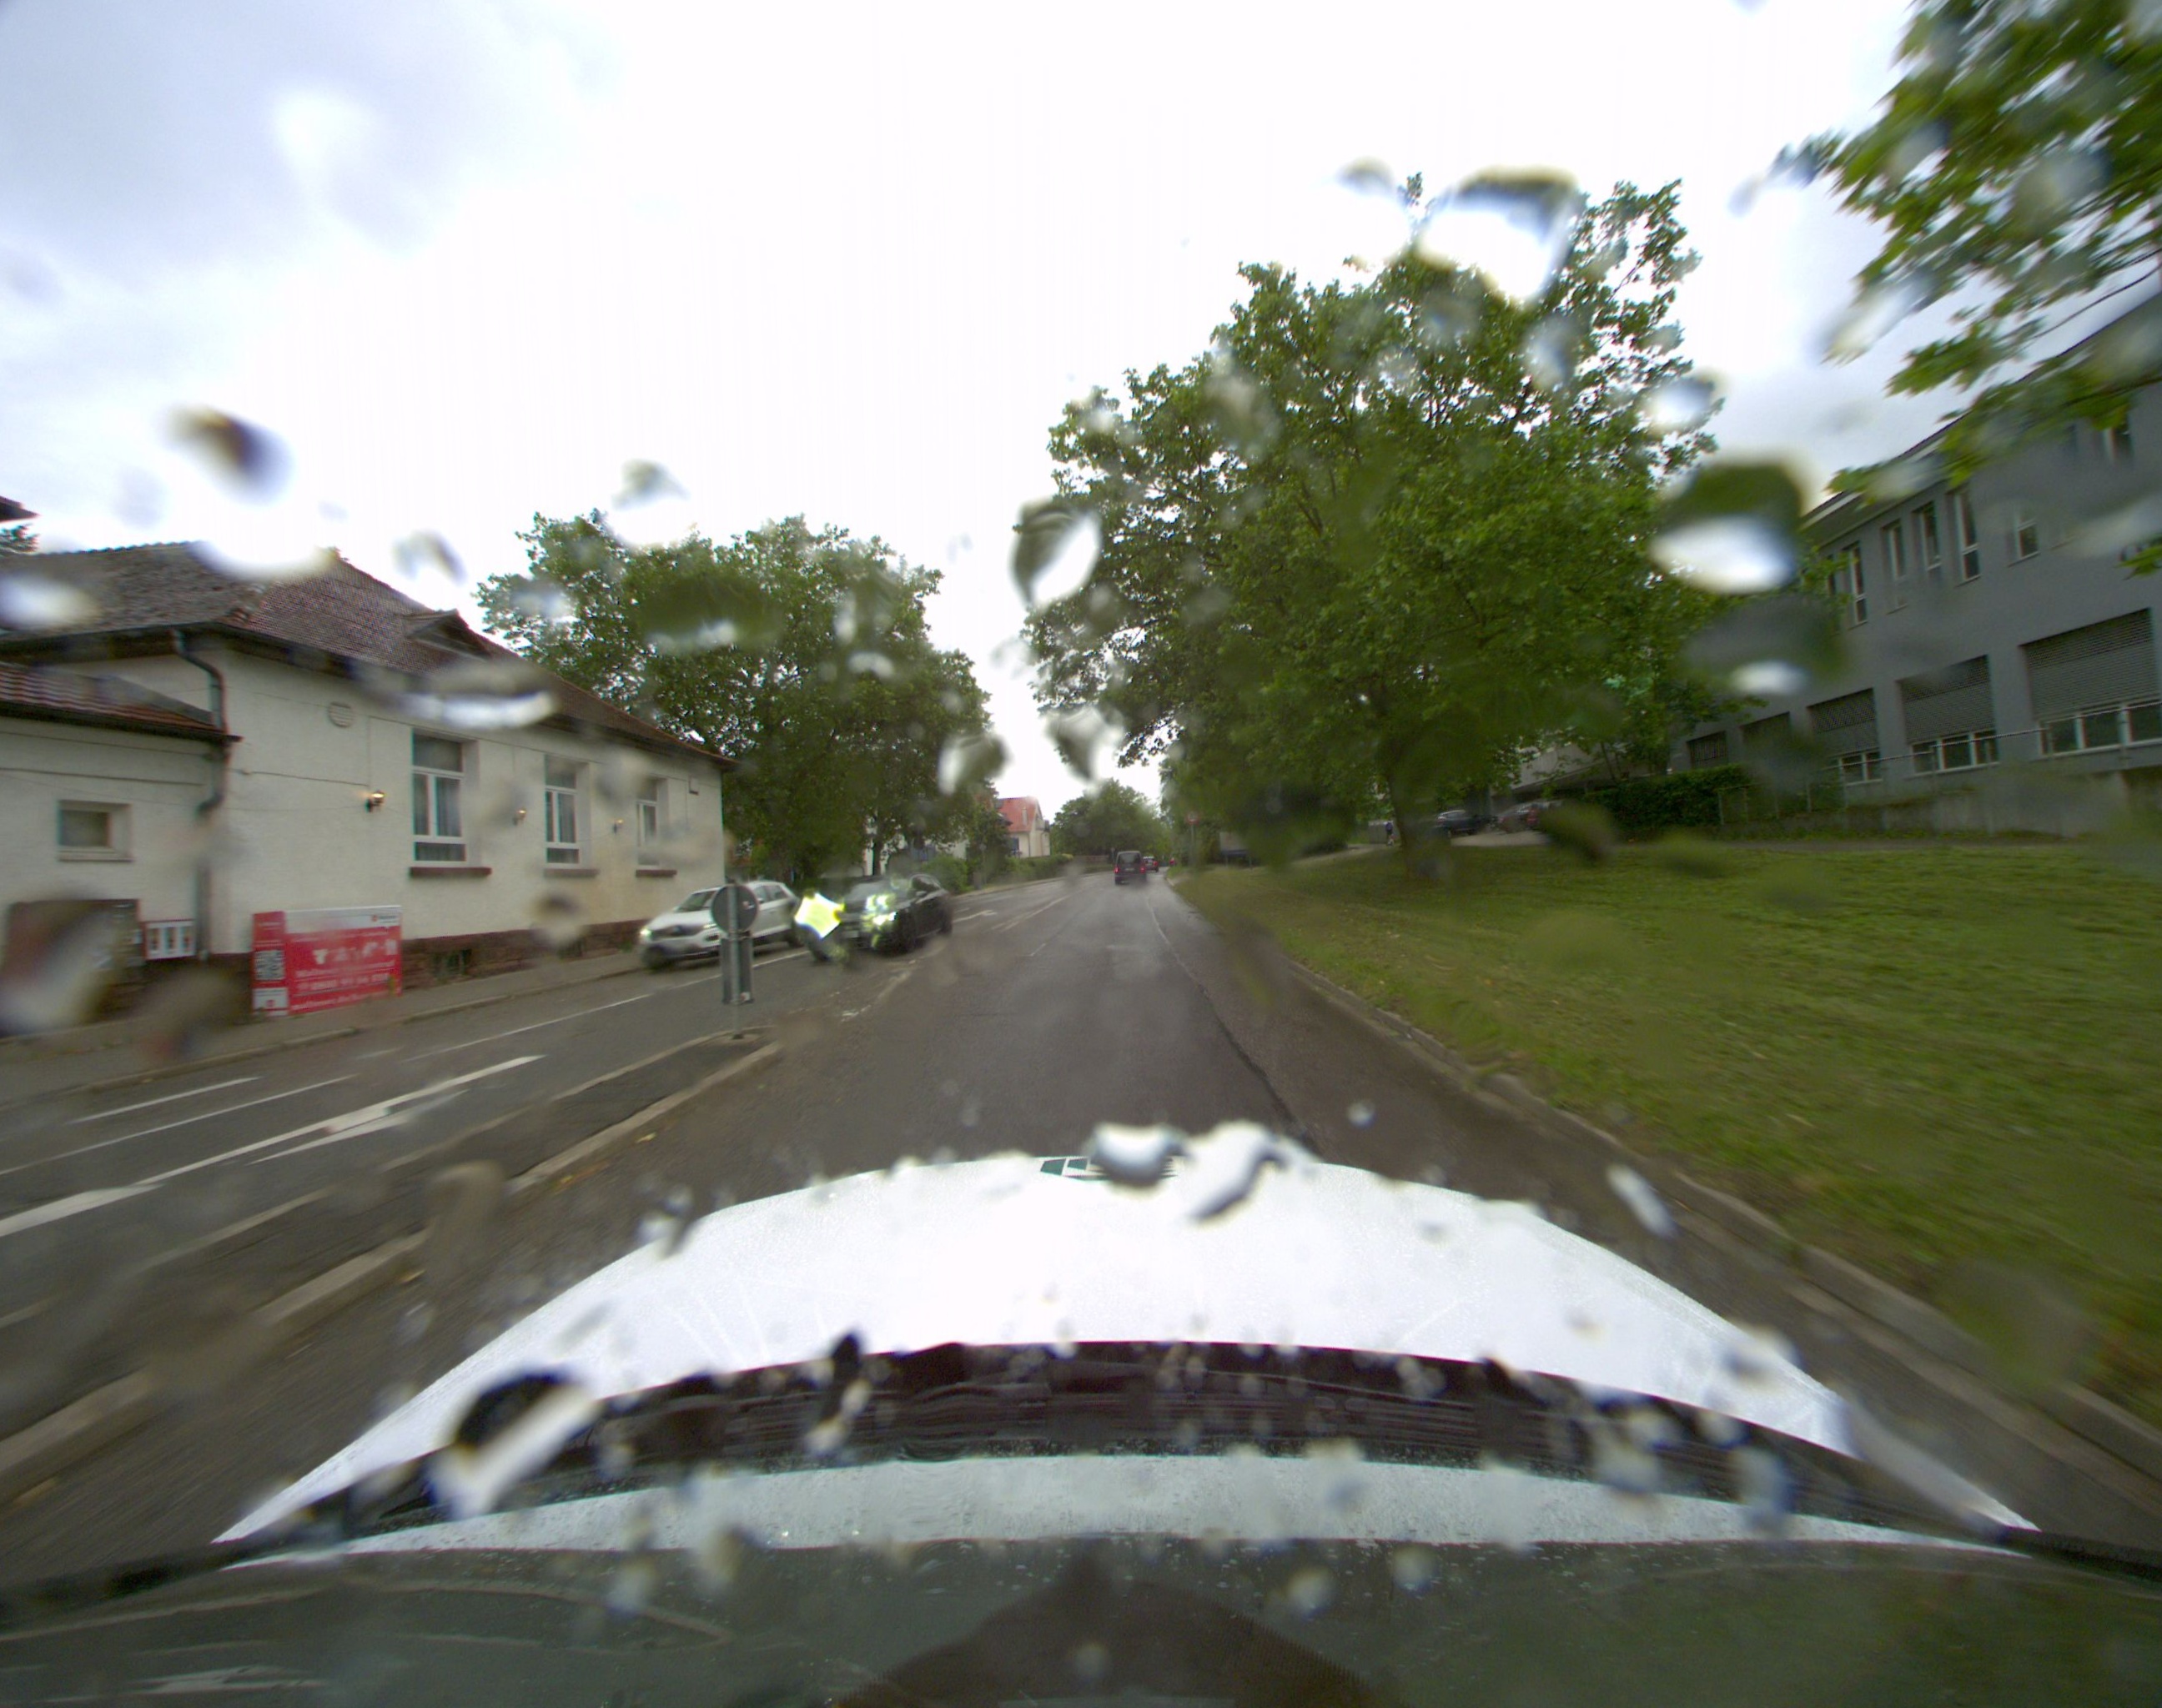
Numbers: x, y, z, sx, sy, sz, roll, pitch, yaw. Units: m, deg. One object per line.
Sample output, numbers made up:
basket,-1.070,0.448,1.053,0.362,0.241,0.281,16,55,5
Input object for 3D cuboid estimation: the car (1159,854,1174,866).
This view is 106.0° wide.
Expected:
car,13.040,0.859,124.372,1.986,1.750,4.002,-1,-1,2

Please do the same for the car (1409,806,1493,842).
car,21.773,-1.766,48.039,3.978,1.750,1.998,-4,0,-3

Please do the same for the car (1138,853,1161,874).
car,6.508,0.875,76.923,1.940,1.749,4.006,-4,0,5

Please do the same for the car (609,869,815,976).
car,-7.377,1.288,16.822,1.984,1.683,4.007,-6,0,6

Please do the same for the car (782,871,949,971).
car,-3.952,1.160,15.802,1.987,1.429,4.387,-4,0,0

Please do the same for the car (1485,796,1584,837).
car,23.222,-1.889,41.866,3.961,1.750,2.006,-4,0,11

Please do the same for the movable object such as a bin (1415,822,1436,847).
movable object such as a bin,15.859,-0.877,37.543,0.666,1.120,0.662,-1,-1,-1

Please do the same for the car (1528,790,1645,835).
car,22.877,-1.861,37.019,3.961,1.640,2.006,-4,0,11

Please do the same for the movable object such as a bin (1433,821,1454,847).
movable object such as a bin,16.357,-0.896,36.754,0.666,1.120,0.662,-1,-1,-1

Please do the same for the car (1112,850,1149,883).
car,2.838,0.695,46.936,1.985,1.794,4.003,-2,0,3

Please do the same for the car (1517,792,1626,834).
car,23.665,-1.947,39.428,3.964,1.662,1.964,-4,0,8

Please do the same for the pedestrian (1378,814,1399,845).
pedestrian,18.112,-1.426,47.945,0.662,1.750,0.846,-4,-1,-14
